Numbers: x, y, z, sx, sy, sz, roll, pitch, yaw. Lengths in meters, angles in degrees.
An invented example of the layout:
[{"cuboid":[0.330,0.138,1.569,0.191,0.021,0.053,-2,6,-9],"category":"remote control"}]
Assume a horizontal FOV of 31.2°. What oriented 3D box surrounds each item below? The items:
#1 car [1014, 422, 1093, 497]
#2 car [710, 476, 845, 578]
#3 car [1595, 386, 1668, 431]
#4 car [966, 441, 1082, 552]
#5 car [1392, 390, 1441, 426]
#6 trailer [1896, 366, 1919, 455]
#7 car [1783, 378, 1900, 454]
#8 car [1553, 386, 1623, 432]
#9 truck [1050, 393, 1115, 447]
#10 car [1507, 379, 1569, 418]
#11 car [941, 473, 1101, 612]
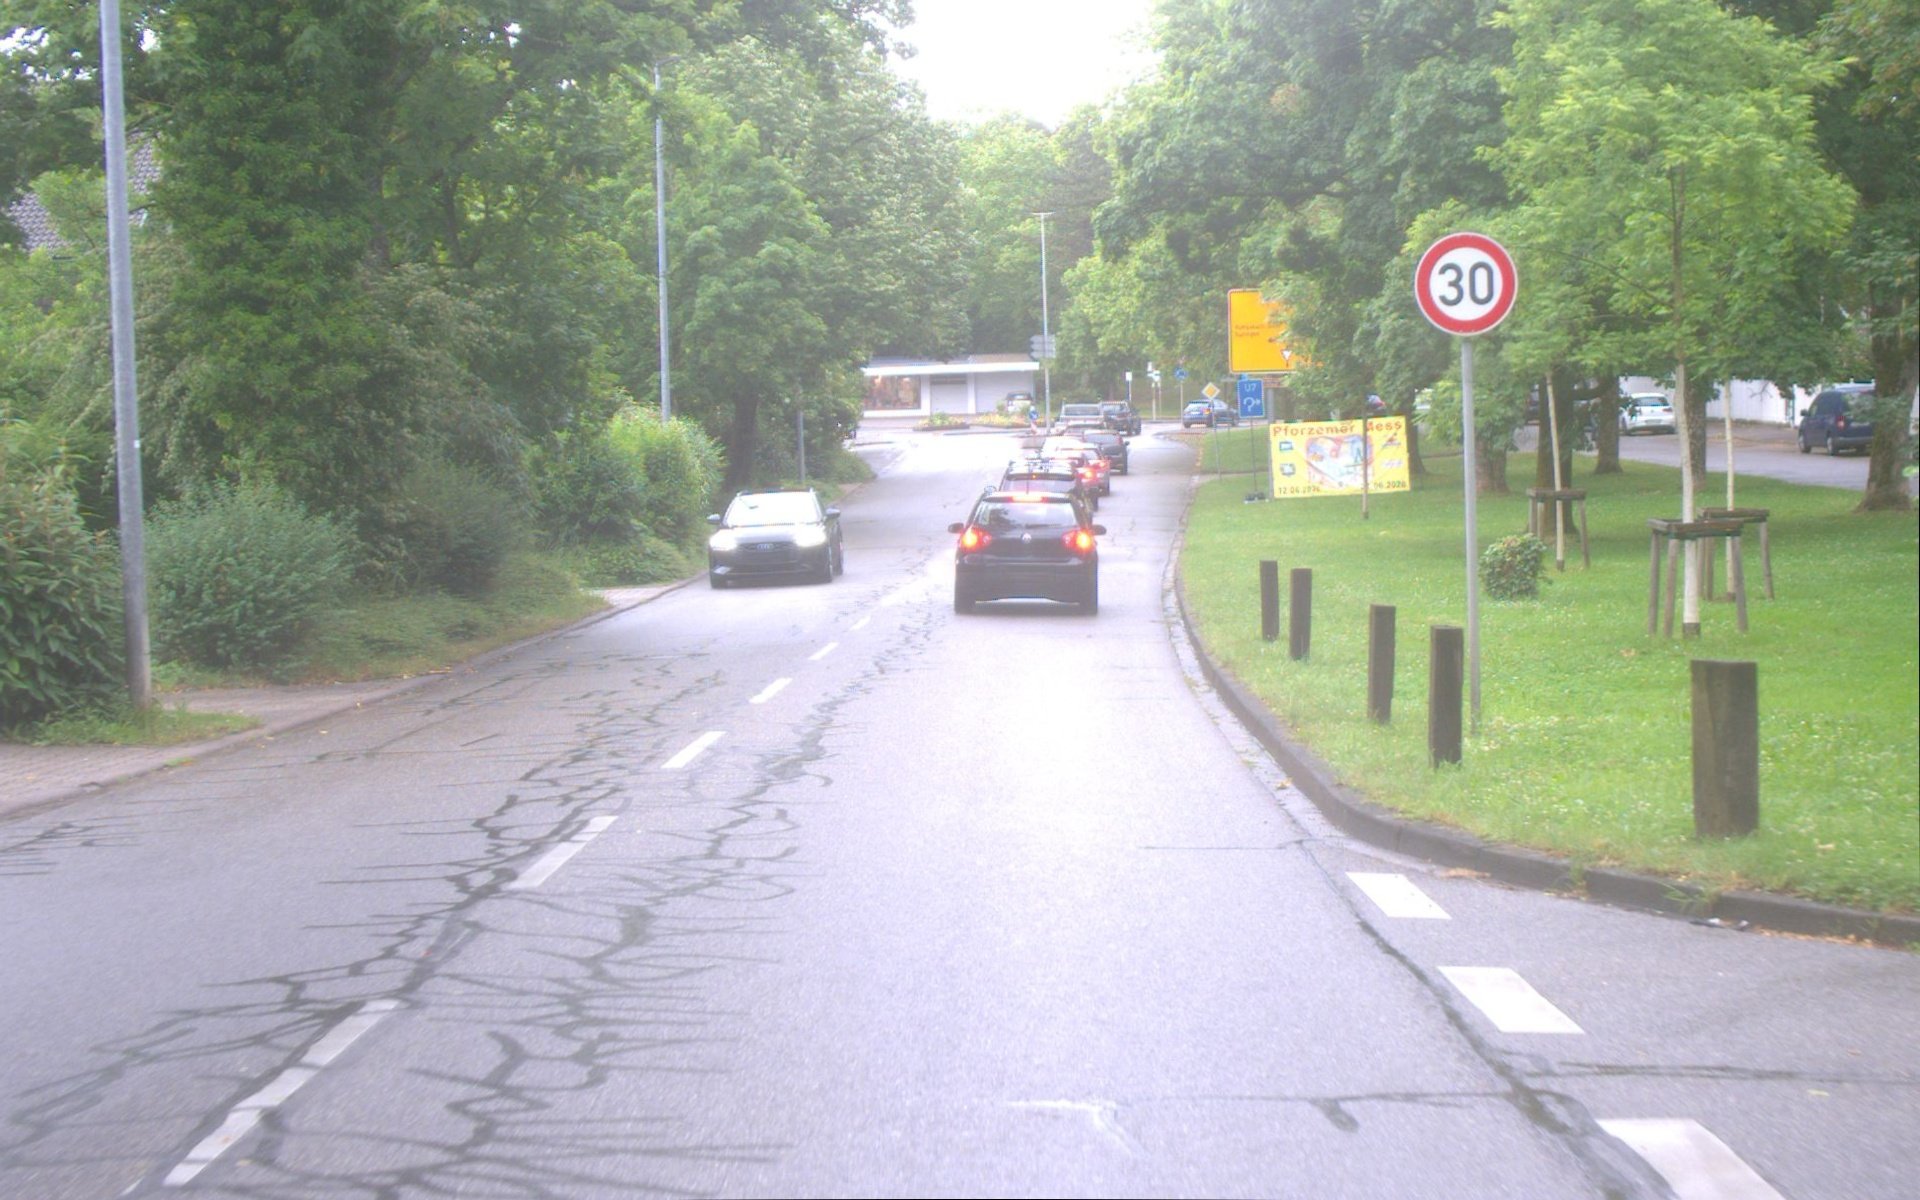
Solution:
[{"cuboid":[2.403,-3.603,87.593,1.855,1.778,4.000,-1,3,3],"category":"car"},{"cuboid":[-2.793,-1.165,53.472,1.754,1.358,4.326,-3,3,1],"category":"car"},{"cuboid":[23.515,-6.720,120.493,1.616,1.404,4.012,-3,5,-2],"category":"car"},{"cuboid":[1.162,-1.847,60.512,1.855,1.778,4.000,-1,3,3],"category":"car"},{"cuboid":[20.278,-8.552,152.799,1.803,1.401,4.001,-3,4,3],"category":"car"},{"cuboid":[24.278,-4.701,84.739,1.436,2.146,2.951,-4,4,-2],"category":"trailer"},{"cuboid":[24.089,-5.063,94.082,1.941,1.802,4.650,-3,5,0],"category":"car"},{"cuboid":[23.316,-7.114,127.777,1.802,1.524,4.113,-3,5,1],"category":"car"},{"cuboid":[4.749,-7.026,133.729,2.417,1.997,5.151,-2,3,2],"category":"truck"},{"cuboid":[23.540,-8.240,140.210,1.802,1.406,4.113,-3,5,1],"category":"car"},{"cuboid":[0.791,-0.746,42.345,1.799,1.510,3.754,1,3,3],"category":"car"}]
